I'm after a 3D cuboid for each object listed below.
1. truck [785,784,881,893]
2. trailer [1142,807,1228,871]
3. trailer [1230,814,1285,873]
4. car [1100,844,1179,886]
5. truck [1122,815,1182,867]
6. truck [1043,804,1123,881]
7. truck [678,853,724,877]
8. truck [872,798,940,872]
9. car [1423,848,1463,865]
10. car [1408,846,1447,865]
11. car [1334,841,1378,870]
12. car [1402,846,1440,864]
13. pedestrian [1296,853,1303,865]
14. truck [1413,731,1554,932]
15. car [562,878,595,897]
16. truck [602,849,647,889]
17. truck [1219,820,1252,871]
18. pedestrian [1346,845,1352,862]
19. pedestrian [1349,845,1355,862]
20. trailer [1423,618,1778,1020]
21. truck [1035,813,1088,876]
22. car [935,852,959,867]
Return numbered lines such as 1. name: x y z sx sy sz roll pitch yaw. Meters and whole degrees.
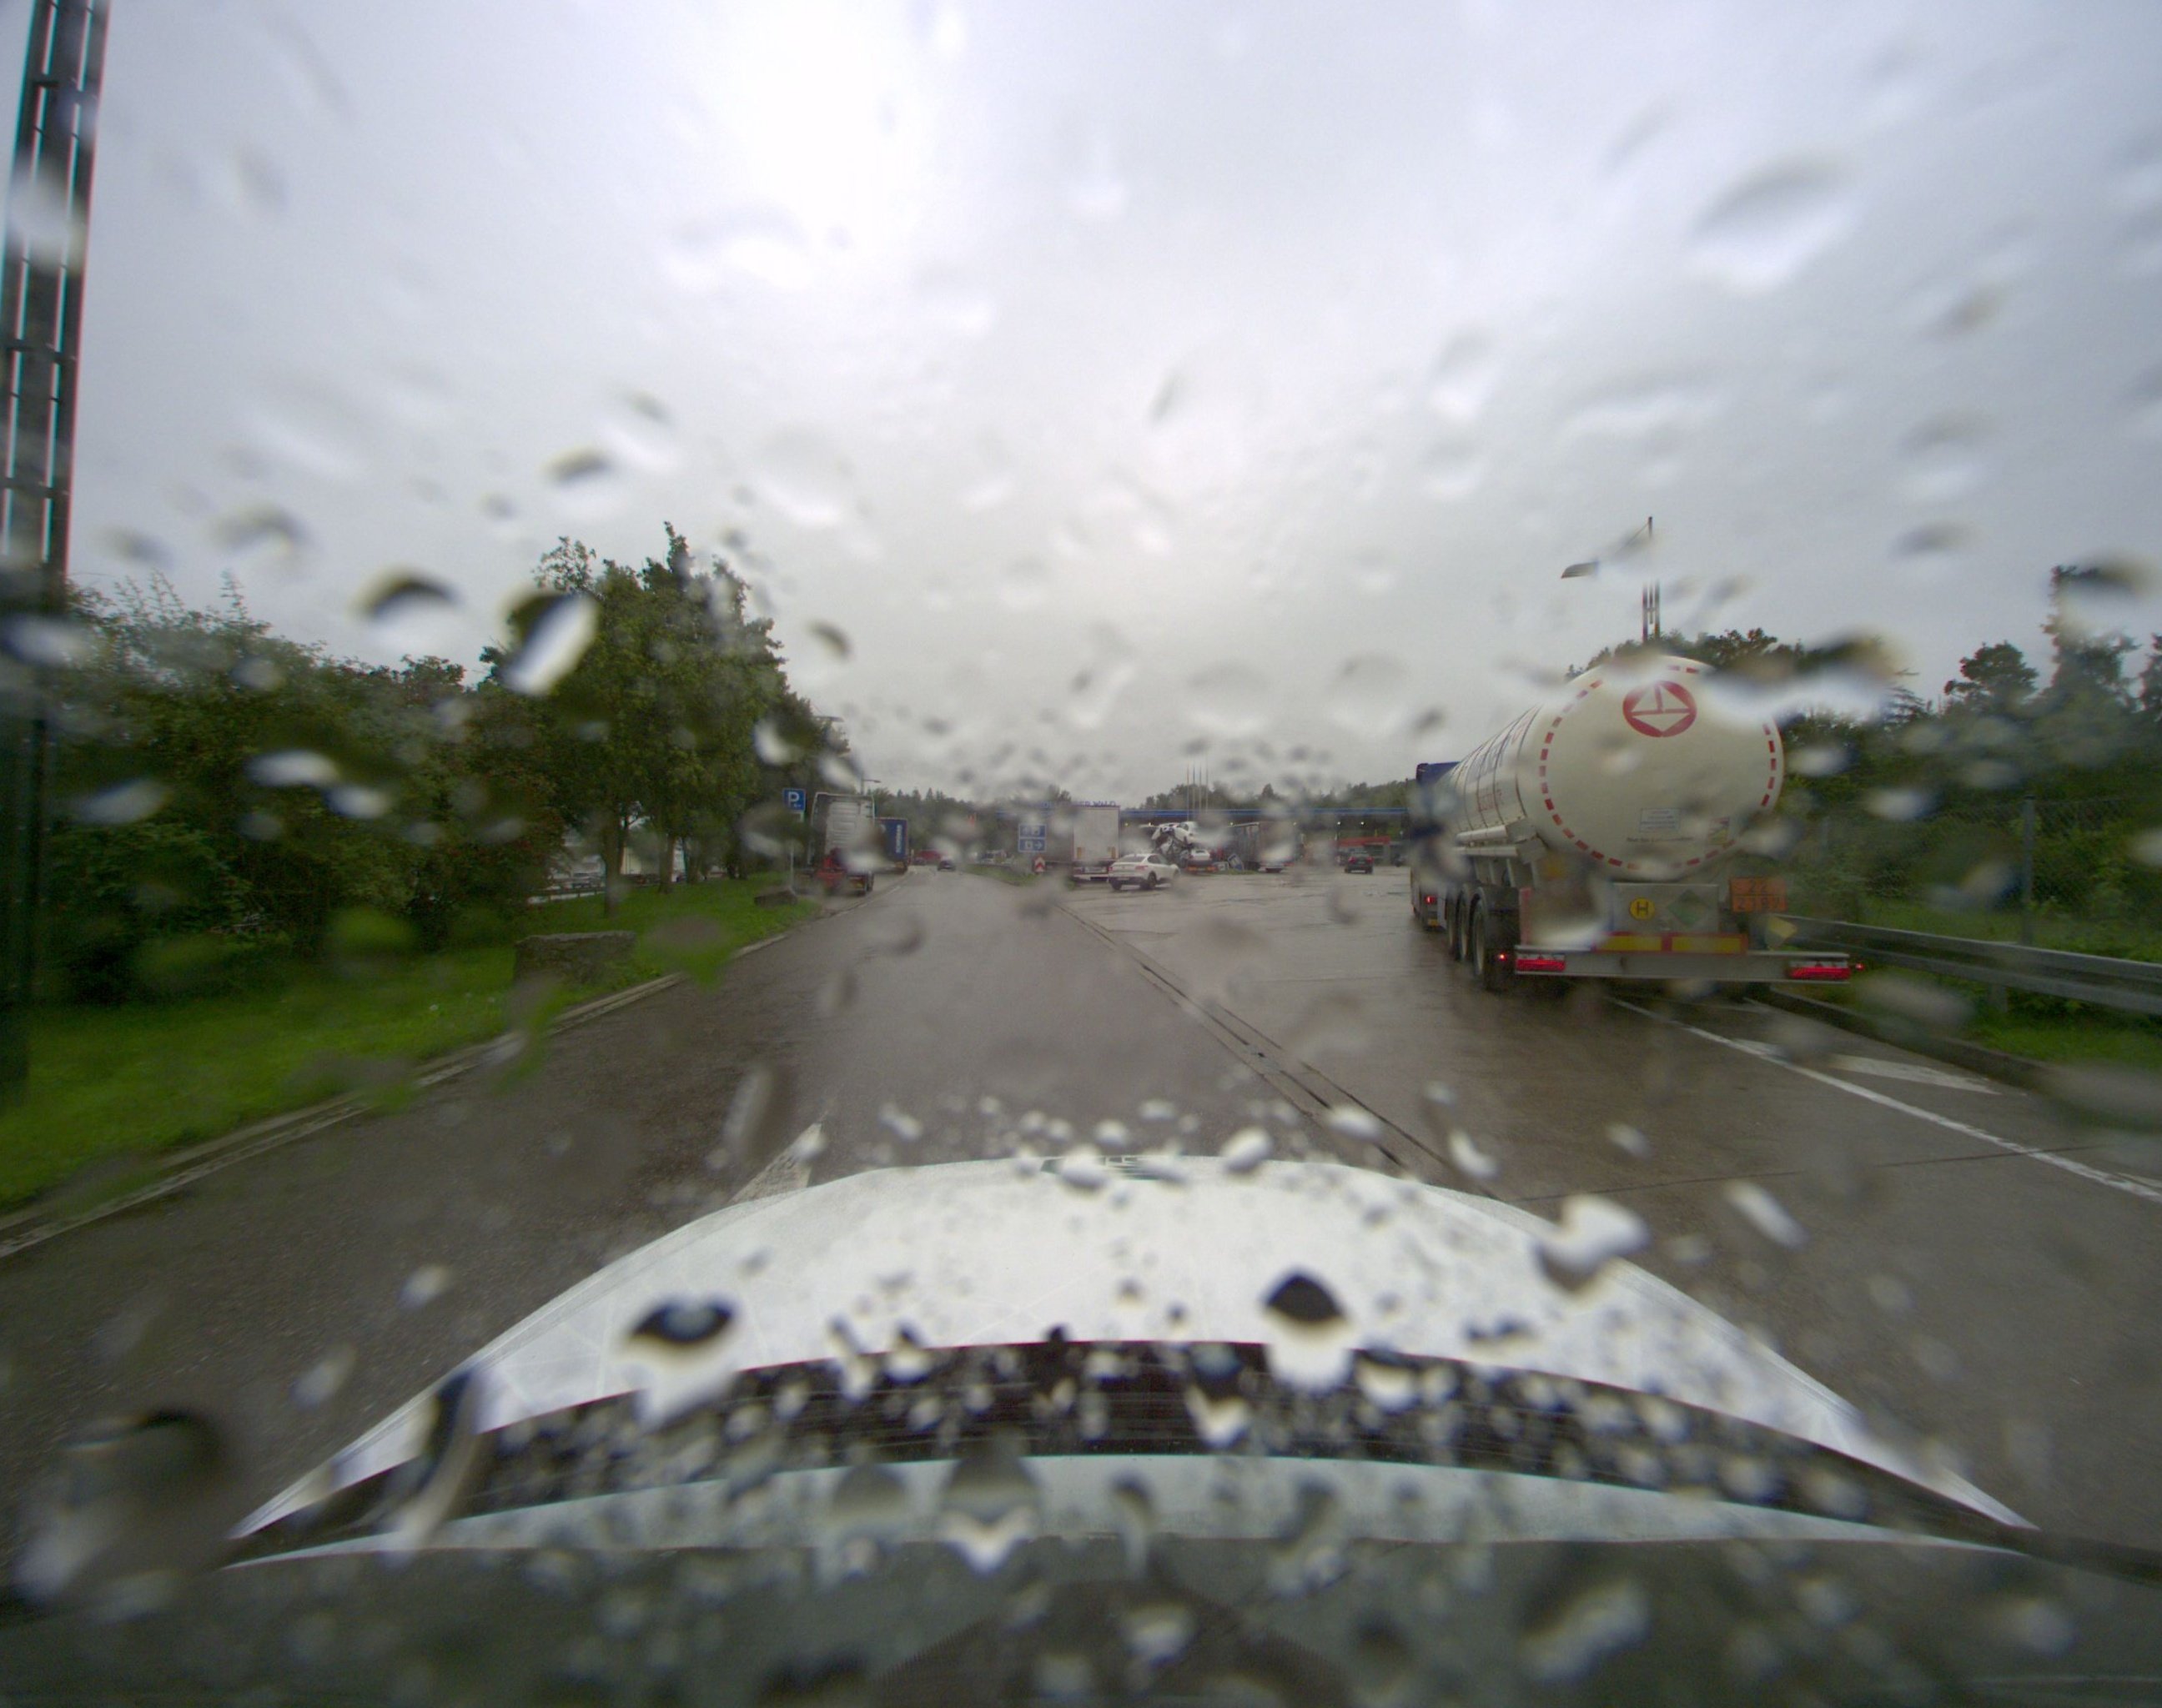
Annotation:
1. truck: -9.665 -0.552 32.393 2.916 3.904 6.293 0 0 -10
2. trailer: 7.408 -1.035 60.233 3.214 4.189 11.495 1 0 -9
3. trailer: 14.617 -0.786 68.101 1.989 4.559 9.798 0 -1 -3
4. car: 2.555 0.455 34.672 1.975 1.679 4.024 0 0 27
5. truck: 5.950 -1.075 70.112 3.233 4.188 8.418 1 0 -9
6. truck: -0.190 -0.617 47.640 2.371 3.874 12.408 -1 0 -11
7. truck: -52.680 1.475 112.886 5.247 3.003 1.992 4 0 -12
8. truck: -13.747 -1.371 63.930 4.796 5.305 11.023 0 0 -12
9. car: 36.011 0.242 81.021 4.021 1.728 2.095 0 0 -40
10. car: 36.149 0.153 84.906 4.213 1.937 2.095 0 0 -40
11. car: 20.974 0.129 62.291 1.987 2.014 3.998 3 -2 -1
12. car: 36.921 0.121 88.455 4.213 1.937 2.095 0 0 -40
13. pedestrian: 28.486 0.672 106.320 0.712 1.521 0.746 2 -3 23
14. truck: 8.105 -0.390 16.859 2.036 3.531 4.769 0 0 19
15. car: -51.637 3.442 83.768 1.817 1.768 3.978 -1 -1 -16
16. truck: -40.935 1.376 73.124 2.510 3.365 4.722 4 -2 -19
17. truck: 14.266 -0.721 75.392 1.983 4.549 4.790 0 -1 -3
18. pedestrian: 33.040 -0.018 100.464 0.582 2.014 0.640 2 -3 14
19. pedestrian: 33.043 -0.014 99.297 0.663 2.014 0.746 2 -3 23
20. trailer: 6.350 -0.267 11.736 1.964 3.224 10.371 0 0 19
21. truck: -1.398 -0.615 53.645 2.371 3.874 6.985 -1 0 -11
22. car: -13.122 0.554 80.073 1.875 1.461 3.994 1 -1 -4
